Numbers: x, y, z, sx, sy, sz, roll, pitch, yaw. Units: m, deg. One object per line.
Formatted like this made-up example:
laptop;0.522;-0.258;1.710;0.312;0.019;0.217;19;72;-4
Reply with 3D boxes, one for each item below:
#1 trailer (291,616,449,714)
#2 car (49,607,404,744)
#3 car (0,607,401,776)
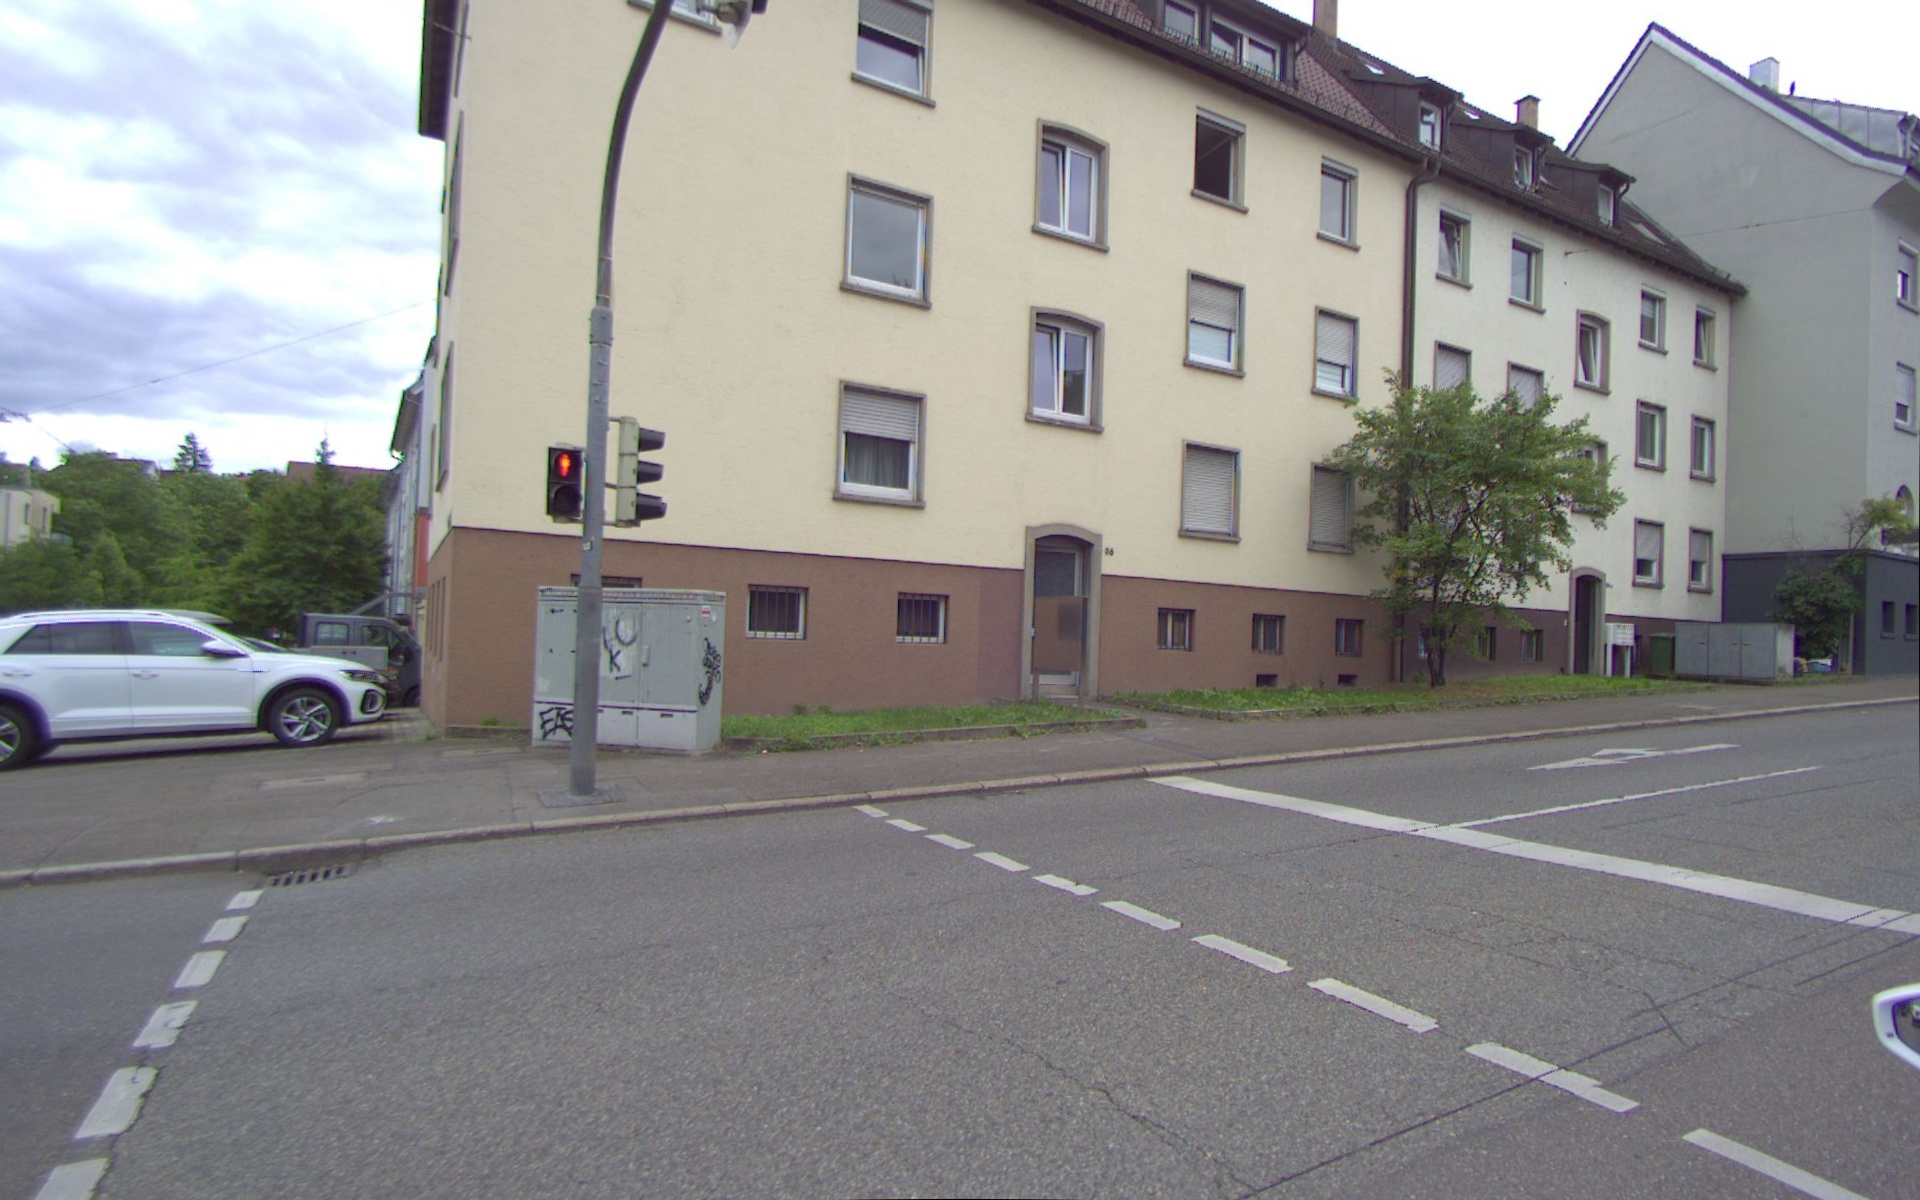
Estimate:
trailer;-13.133;1.380;22.486;2.936;2.040;1.749;0;-1;-30
car;-11.193;1.072;15.684;4.217;1.782;1.981;-1;-2;-35
car;-8.718;0.933;11.167;4.217;1.557;1.803;-1;-2;-35
